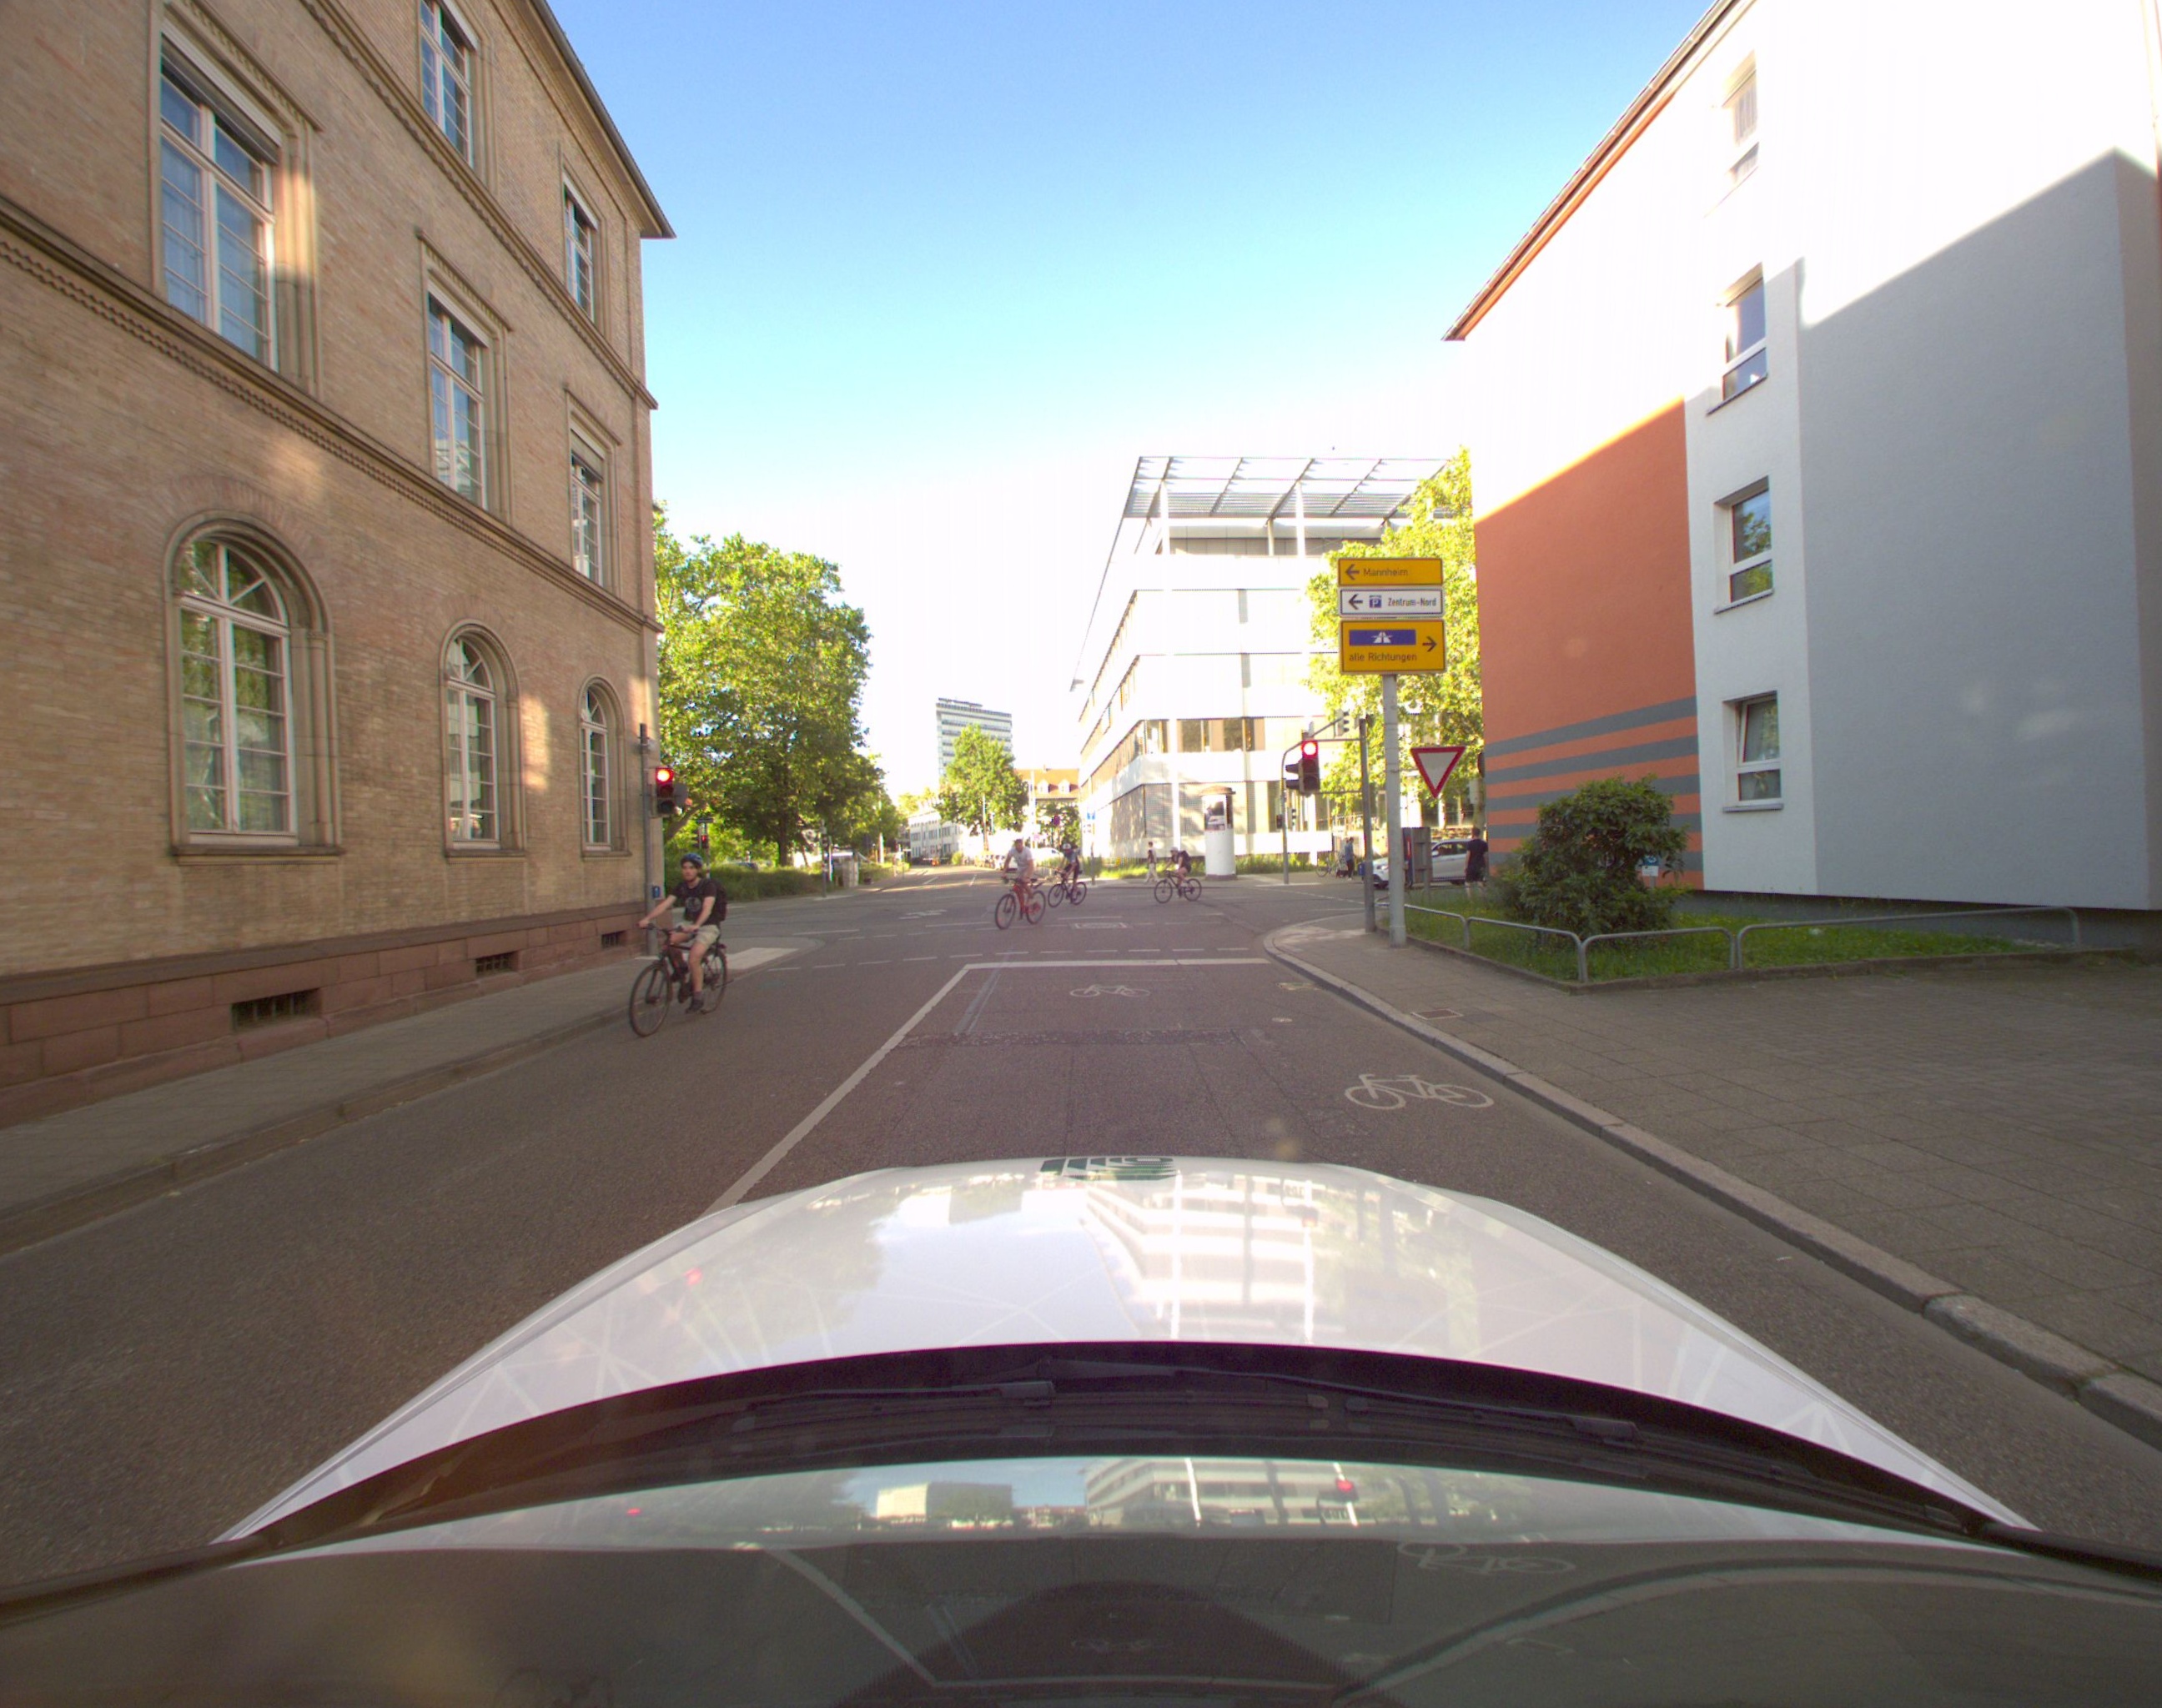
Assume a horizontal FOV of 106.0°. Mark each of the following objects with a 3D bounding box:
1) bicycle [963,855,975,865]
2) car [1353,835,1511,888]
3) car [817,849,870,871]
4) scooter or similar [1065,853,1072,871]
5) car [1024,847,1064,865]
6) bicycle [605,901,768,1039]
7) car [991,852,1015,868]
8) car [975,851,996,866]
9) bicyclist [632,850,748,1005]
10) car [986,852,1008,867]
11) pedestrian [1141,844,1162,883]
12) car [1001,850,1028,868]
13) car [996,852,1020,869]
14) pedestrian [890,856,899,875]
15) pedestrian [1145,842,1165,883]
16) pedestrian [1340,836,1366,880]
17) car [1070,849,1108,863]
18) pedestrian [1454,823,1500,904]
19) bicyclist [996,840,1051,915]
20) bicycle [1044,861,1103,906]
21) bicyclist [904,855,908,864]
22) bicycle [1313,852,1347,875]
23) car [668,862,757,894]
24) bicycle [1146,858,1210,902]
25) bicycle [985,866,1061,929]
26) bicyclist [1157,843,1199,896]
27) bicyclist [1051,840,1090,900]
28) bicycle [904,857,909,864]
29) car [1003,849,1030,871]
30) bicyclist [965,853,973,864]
[{"bbox_3d":[-14.239,0.768,103.586,0.585,1.152,1.981,-2,0,25],"label":"bicycle"},{"bbox_3d":[11.106,0.229,25.904,4.351,1.514,1.715,-2,0,-7],"label":"car"},{"bbox_3d":[-22.038,0.529,75.772,4.441,2.014,1.995,0,-1,-8],"label":"car"},{"bbox_3d":[-0.925,0.578,58.481,0.436,1.256,1.418,-2,0,-2],"label":"scooter or similar"},{"bbox_3d":[-4.700,0.264,103.254,4.802,2.159,1.989,0,-1,-16],"label":"car"},{"bbox_3d":[-4.099,1.155,8.656,0.587,1.152,1.973,-2,0,5],"label":"bicycle"},{"bbox_3d":[-7.857,0.580,81.631,1.994,1.499,4.270,0,-1,-11],"label":"car"},{"bbox_3d":[-11.316,0.531,96.308,1.995,1.725,4.633,0,-1,-11],"label":"car"},{"bbox_3d":[-4.122,0.728,8.665,0.587,1.527,1.080,-2,0,5],"label":"bicyclist"},{"bbox_3d":[-8.899,0.586,86.384,1.994,1.499,4.635,0,0,-10],"label":"car"},{"bbox_3d":[3.115,0.407,36.000,0.758,1.719,0.651,-1,-1,19],"label":"pedestrian"},{"bbox_3d":[-5.860,0.476,71.358,1.993,1.499,4.638,0,0,-8],"label":"car"},{"bbox_3d":[-6.933,0.604,77.158,1.993,1.499,4.638,0,0,-8],"label":"car"},{"bbox_3d":[-14.990,0.922,65.590,0.700,1.587,0.633,0,-1,-14],"label":"pedestrian"},{"bbox_3d":[3.336,0.388,36.848,0.758,1.795,0.651,-1,-1,19],"label":"pedestrian"},{"bbox_3d":[11.331,0.171,33.901,0.906,1.815,0.766,-1,-1,24],"label":"pedestrian"},{"bbox_3d":[1.006,0.245,104.962,4.644,1.725,1.990,0,-1,-15],"label":"car"},{"bbox_3d":[9.005,0.213,18.523,0.723,1.810,0.693,0,-1,-39],"label":"pedestrian"},{"bbox_3d":[-1.189,0.479,16.975,0.695,1.522,0.924,-2,0,27],"label":"bicyclist"},{"bbox_3d":[-0.200,0.816,22.788,0.619,1.152,1.795,-2,0,38],"label":"bicycle"},{"bbox_3d":[-30.506,0.944,142.209,0.616,1.472,0.736,-2,0,-16],"label":"bicyclist"},{"bbox_3d":[10.997,0.423,36.034,0.381,1.008,1.416,-2,0,-40],"label":"bicycle"},{"bbox_3d":[-17.092,1.098,37.906,3.407,1.457,1.646,0,-1,-8],"label":"car"},{"bbox_3d":[2.762,0.716,23.151,1.791,1.152,0.621,-2,0,-34],"label":"bicycle"},{"bbox_3d":[-1.170,0.874,16.966,0.620,1.152,1.982,-2,0,27],"label":"bicycle"},{"bbox_3d":[2.766,0.425,23.145,0.978,1.446,0.621,-2,0,-34],"label":"bicyclist"},{"bbox_3d":[-0.288,0.446,22.694,0.619,1.628,0.831,-2,0,38],"label":"bicyclist"},{"bbox_3d":[-30.521,1.194,142.292,0.616,1.152,1.959,-2,0,-16],"label":"bicycle"},{"bbox_3d":[-5.184,0.465,65.123,1.992,1.725,4.640,0,-1,-7],"label":"car"},{"bbox_3d":[-14.255,0.534,103.569,0.585,1.396,0.752,-2,0,25],"label":"bicyclist"}]
